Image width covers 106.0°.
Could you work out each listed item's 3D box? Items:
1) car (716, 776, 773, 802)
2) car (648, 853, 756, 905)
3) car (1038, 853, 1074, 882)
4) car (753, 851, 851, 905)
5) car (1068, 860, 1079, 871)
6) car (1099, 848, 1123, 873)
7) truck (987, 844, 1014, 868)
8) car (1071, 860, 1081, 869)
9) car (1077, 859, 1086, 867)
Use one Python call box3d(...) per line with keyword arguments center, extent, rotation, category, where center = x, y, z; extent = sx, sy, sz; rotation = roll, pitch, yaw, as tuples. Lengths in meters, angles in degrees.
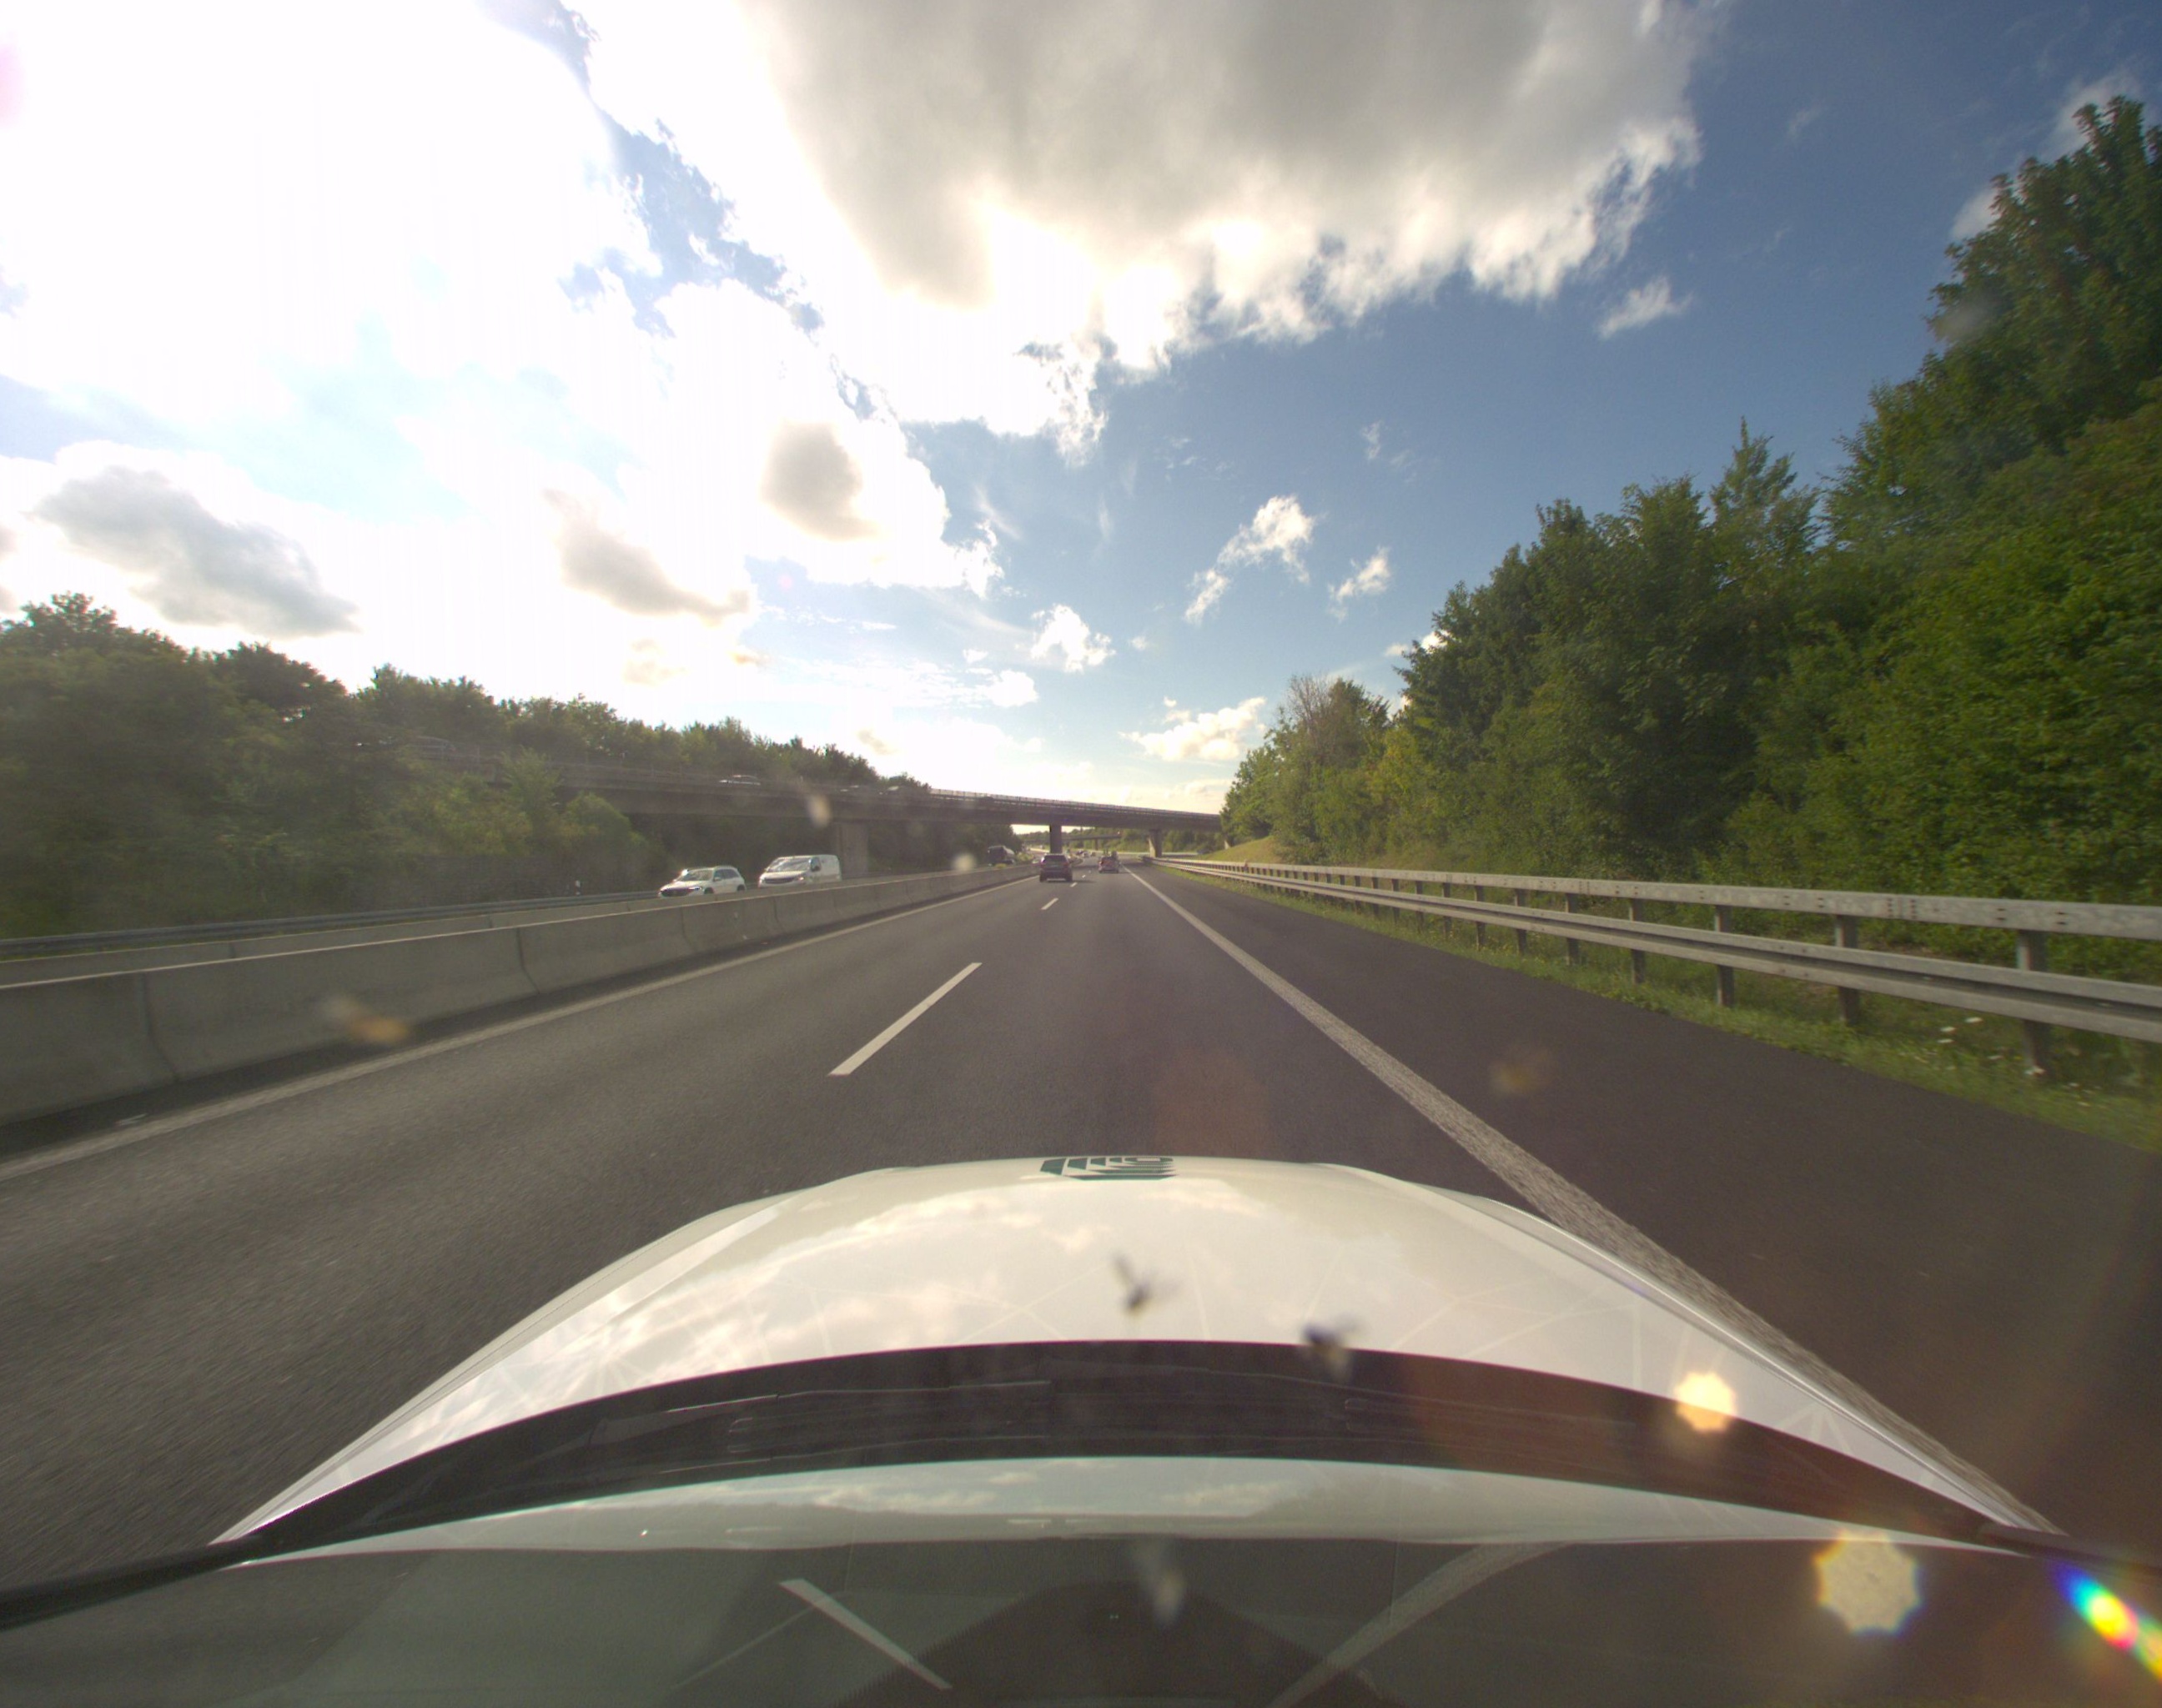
box3d(center=(-30.771, -5.907, 74.584), extent=(1.977, 1.896, 4.846), rotation=(-3, 0, 19), category="car")
box3d(center=(-15.459, 0.959, 33.586), extent=(1.986, 1.896, 4.824), rotation=(-3, 0, 2), category="car")
box3d(center=(-1.479, 0.790, 49.567), extent=(1.742, 1.630, 3.612), rotation=(-3, 0, 4), category="car")
box3d(center=(-11.181, 0.911, 33.079), extent=(1.986, 1.896, 5.191), rotation=(-3, 0, 2), category="car")
box3d(center=(-1.547, 2.286, 162.533), extent=(1.986, 2.013, 4.002), rotation=(-3, 0, 2), category="car")
box3d(center=(2.677, 0.561, 73.002), extent=(1.986, 2.081, 4.002), rotation=(-3, 0, 2), category="car")
box3d(center=(-12.195, 0.299, 124.082), extent=(2.666, 3.446, 9.832), rotation=(-3, 0, 2), category="truck")
box3d(center=(-1.191, 2.399, 184.225), extent=(1.986, 2.013, 4.002), rotation=(-3, 0, 2), category="car")
box3d(center=(0.112, 2.291, 214.301), extent=(1.986, 2.013, 4.002), rotation=(-3, 0, 2), category="car")
